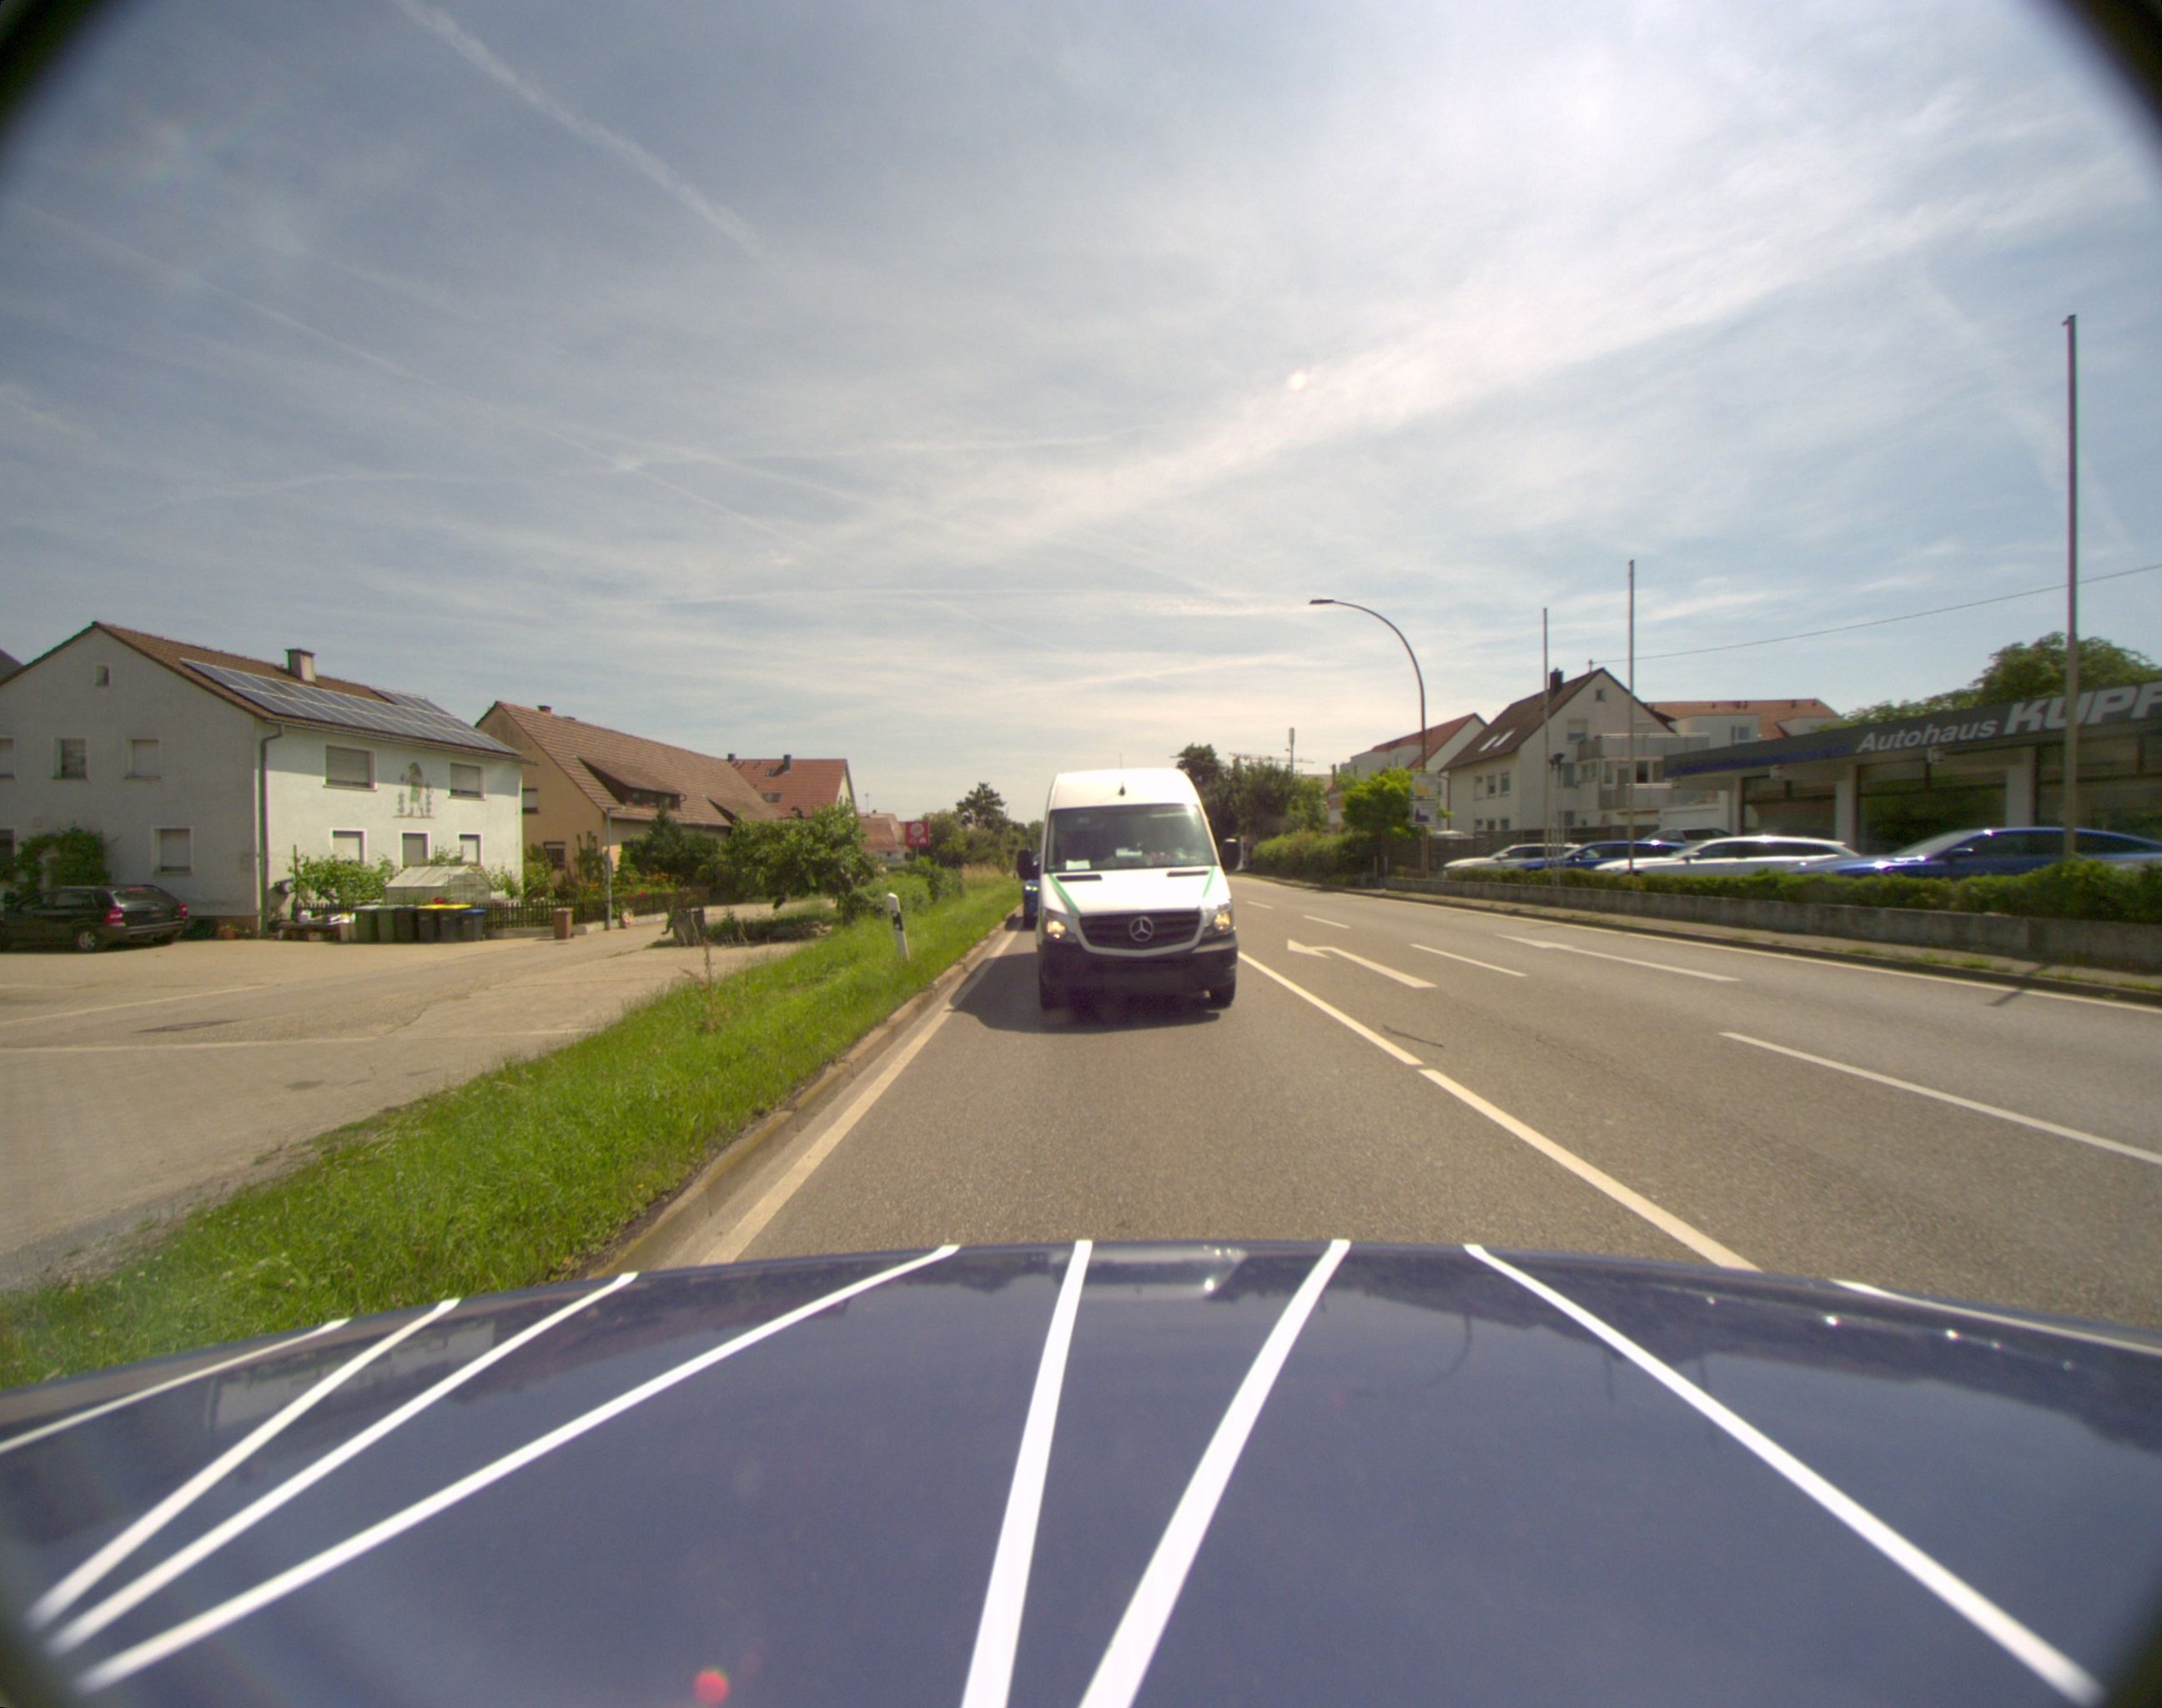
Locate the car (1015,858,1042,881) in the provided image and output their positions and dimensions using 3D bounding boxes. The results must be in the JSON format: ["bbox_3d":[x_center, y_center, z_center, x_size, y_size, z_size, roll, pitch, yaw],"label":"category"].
[{"bbox_3d":[-3.675,1.072,53.871,1.636,1.476,3.551,-4,1,-2],"label":"car"}]

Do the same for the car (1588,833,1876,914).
[{"bbox_3d":[14.012,0.447,16.782,4.505,1.439,1.860,-4,0,30],"label":"car"}]

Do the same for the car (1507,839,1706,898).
[{"bbox_3d":[14.284,0.414,21.005,4.331,1.439,1.860,-2,1,29],"label":"car"}]

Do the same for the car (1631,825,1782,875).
[{"bbox_3d":[20.706,-0.126,25.442,1.807,1.456,4.584,-2,0,9],"label":"car"}]

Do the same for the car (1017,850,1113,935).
[{"bbox_3d":[-0.366,0.802,18.061,1.884,1.652,4.625,-4,0,-1],"label":"car"}]

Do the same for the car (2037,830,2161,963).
[{"bbox_3d":[14.506,0.409,8.511,4.332,1.439,1.901,-2,1,25],"label":"car"}]

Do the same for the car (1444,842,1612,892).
[{"bbox_3d":[14.509,0.432,24.908,4.568,1.439,1.860,-2,1,29],"label":"car"}]

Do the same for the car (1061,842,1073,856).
[{"bbox_3d":[-2.585,-0.978,141.893,1.999,2.573,3.999,-2,1,0],"label":"car"}]

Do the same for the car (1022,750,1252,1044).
[{"bbox_3d":[0.461,0.369,9.501,1.939,2.514,5.748,-2,0,-1],"label":"car"}]

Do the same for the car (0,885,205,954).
[{"bbox_3d":[-26.922,1.751,20.731,3.957,1.683,1.844,0,1,2],"label":"car"}]

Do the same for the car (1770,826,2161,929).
[{"bbox_3d":[14.447,0.397,12.419,4.332,1.439,1.860,-3,1,26],"label":"car"}]
